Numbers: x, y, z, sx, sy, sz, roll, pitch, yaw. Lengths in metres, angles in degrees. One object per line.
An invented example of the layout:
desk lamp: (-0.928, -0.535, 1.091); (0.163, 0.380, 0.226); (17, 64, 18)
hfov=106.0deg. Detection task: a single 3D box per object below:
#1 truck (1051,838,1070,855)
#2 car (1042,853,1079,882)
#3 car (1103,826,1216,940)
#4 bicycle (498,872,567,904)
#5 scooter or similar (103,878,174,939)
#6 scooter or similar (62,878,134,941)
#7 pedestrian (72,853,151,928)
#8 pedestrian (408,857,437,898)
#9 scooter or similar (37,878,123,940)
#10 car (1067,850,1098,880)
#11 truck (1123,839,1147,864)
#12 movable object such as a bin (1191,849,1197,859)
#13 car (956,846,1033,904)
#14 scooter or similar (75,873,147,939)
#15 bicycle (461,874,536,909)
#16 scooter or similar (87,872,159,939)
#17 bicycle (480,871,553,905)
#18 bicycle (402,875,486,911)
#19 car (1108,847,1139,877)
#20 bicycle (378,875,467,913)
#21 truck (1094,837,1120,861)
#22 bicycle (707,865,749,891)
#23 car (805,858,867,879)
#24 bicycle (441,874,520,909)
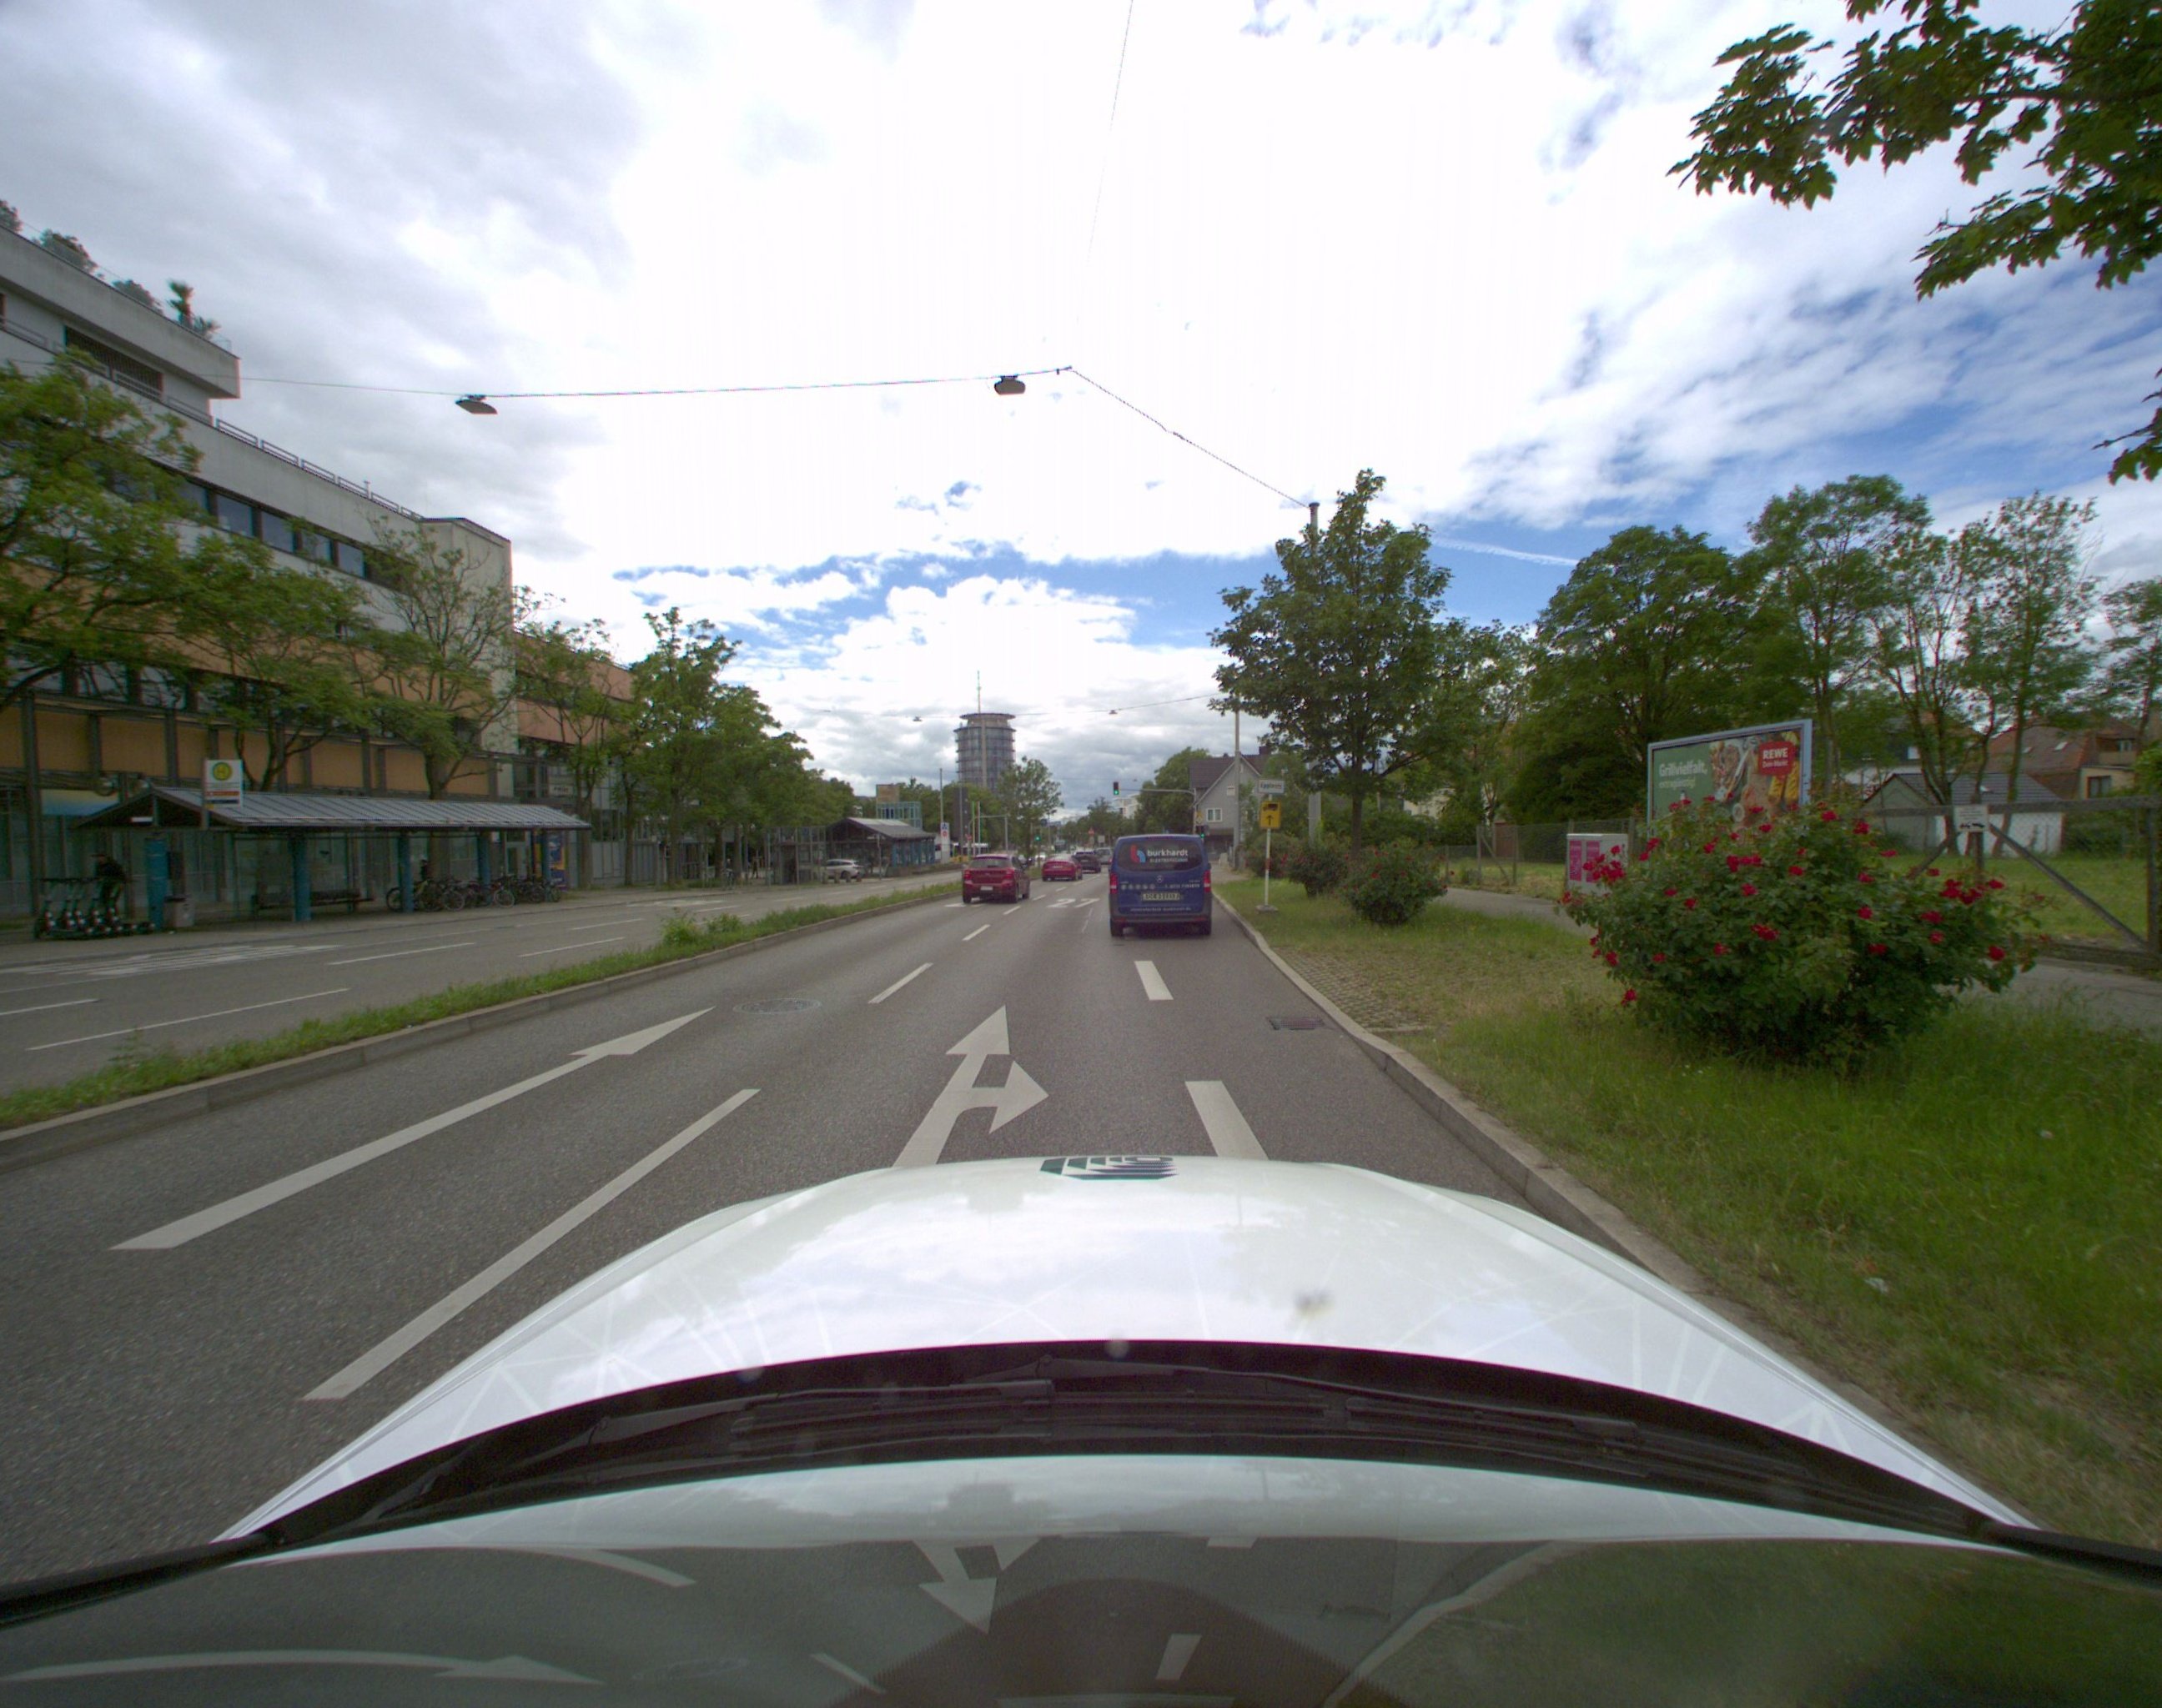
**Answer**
truck: (-4.598, -1.568, 182.194); (3.354, 3.727, 11.290); (0, 0, 3)
car: (-1.149, 0.712, 44.410); (1.864, 1.486, 3.995); (-1, 0, -3)
car: (1.504, 0.505, 16.376); (1.939, 1.965, 4.546); (0, 0, 4)
bicycle: (-21.098, 1.290, 31.365); (2.065, 1.153, 0.709); (-1, 0, -11)
scooter or similar: (-20.967, 1.206, 18.126); (1.198, 1.320, 0.259); (-1, 0, -2)
scooter or similar: (-20.856, 1.174, 17.288); (1.125, 1.295, 0.268); (-1, 0, -3)
pedestrian: (-23.960, 0.881, 20.146); (0.730, 1.781, 0.997); (-1, 0, 2)
pedestrian: (-26.801, 0.958, 33.149); (0.529, 1.643, 0.676); (-2, 0, 6)
scooter or similar: (-20.796, 1.133, 16.929); (1.318, 1.269, 0.339); (0, 0, -2)
car: (0.087, 0.724, 57.879); (1.989, 2.013, 3.996); (0, 1, -3)
truck: (5.021, -0.257, 75.381); (1.983, 2.165, 5.569); (1, 0, 6)
movable object such as a bin: (12.790, 0.034, 92.415); (0.595, 1.101, 0.573); (-1, 0, -2)
car: (-2.686, 0.623, 26.274); (1.738, 1.723, 4.005); (0, 0, 5)
scooter or similar: (-20.906, 1.114, 17.560); (1.198, 1.385, 0.222); (-1, 0, -2)
bicycle: (-20.959, 1.350, 29.325); (2.065, 1.153, 0.709); (-1, 0, -10)
scooter or similar: (-20.966, 1.126, 17.827); (1.198, 1.423, 0.259); (-1, 0, -2)
bicycle: (-20.991, 1.258, 30.321); (2.065, 1.153, 0.709); (2, -1, -10)
bicycle: (-21.024, 1.286, 26.932); (2.065, 1.153, 0.709); (1, 0, -10)
car: (2.550, 0.437, 49.156); (1.739, 1.723, 4.003); (-2, 0, 3)
bicycle: (-20.825, 1.261, 25.794); (2.065, 1.153, 0.709); (1, 0, -10)
truck: (2.541, -0.492, 78.488); (1.983, 2.165, 5.569); (1, 0, 6)
bicycle: (-18.293, 1.211, 42.322); (1.048, 1.271, 2.426); (1, 0, 2)
car: (-18.024, 1.044, 60.075); (3.982, 1.354, 1.996); (-1, 0, -6)
bicycle: (-20.572, 1.282, 27.942); (2.065, 1.153, 0.709); (0, 0, -10)
